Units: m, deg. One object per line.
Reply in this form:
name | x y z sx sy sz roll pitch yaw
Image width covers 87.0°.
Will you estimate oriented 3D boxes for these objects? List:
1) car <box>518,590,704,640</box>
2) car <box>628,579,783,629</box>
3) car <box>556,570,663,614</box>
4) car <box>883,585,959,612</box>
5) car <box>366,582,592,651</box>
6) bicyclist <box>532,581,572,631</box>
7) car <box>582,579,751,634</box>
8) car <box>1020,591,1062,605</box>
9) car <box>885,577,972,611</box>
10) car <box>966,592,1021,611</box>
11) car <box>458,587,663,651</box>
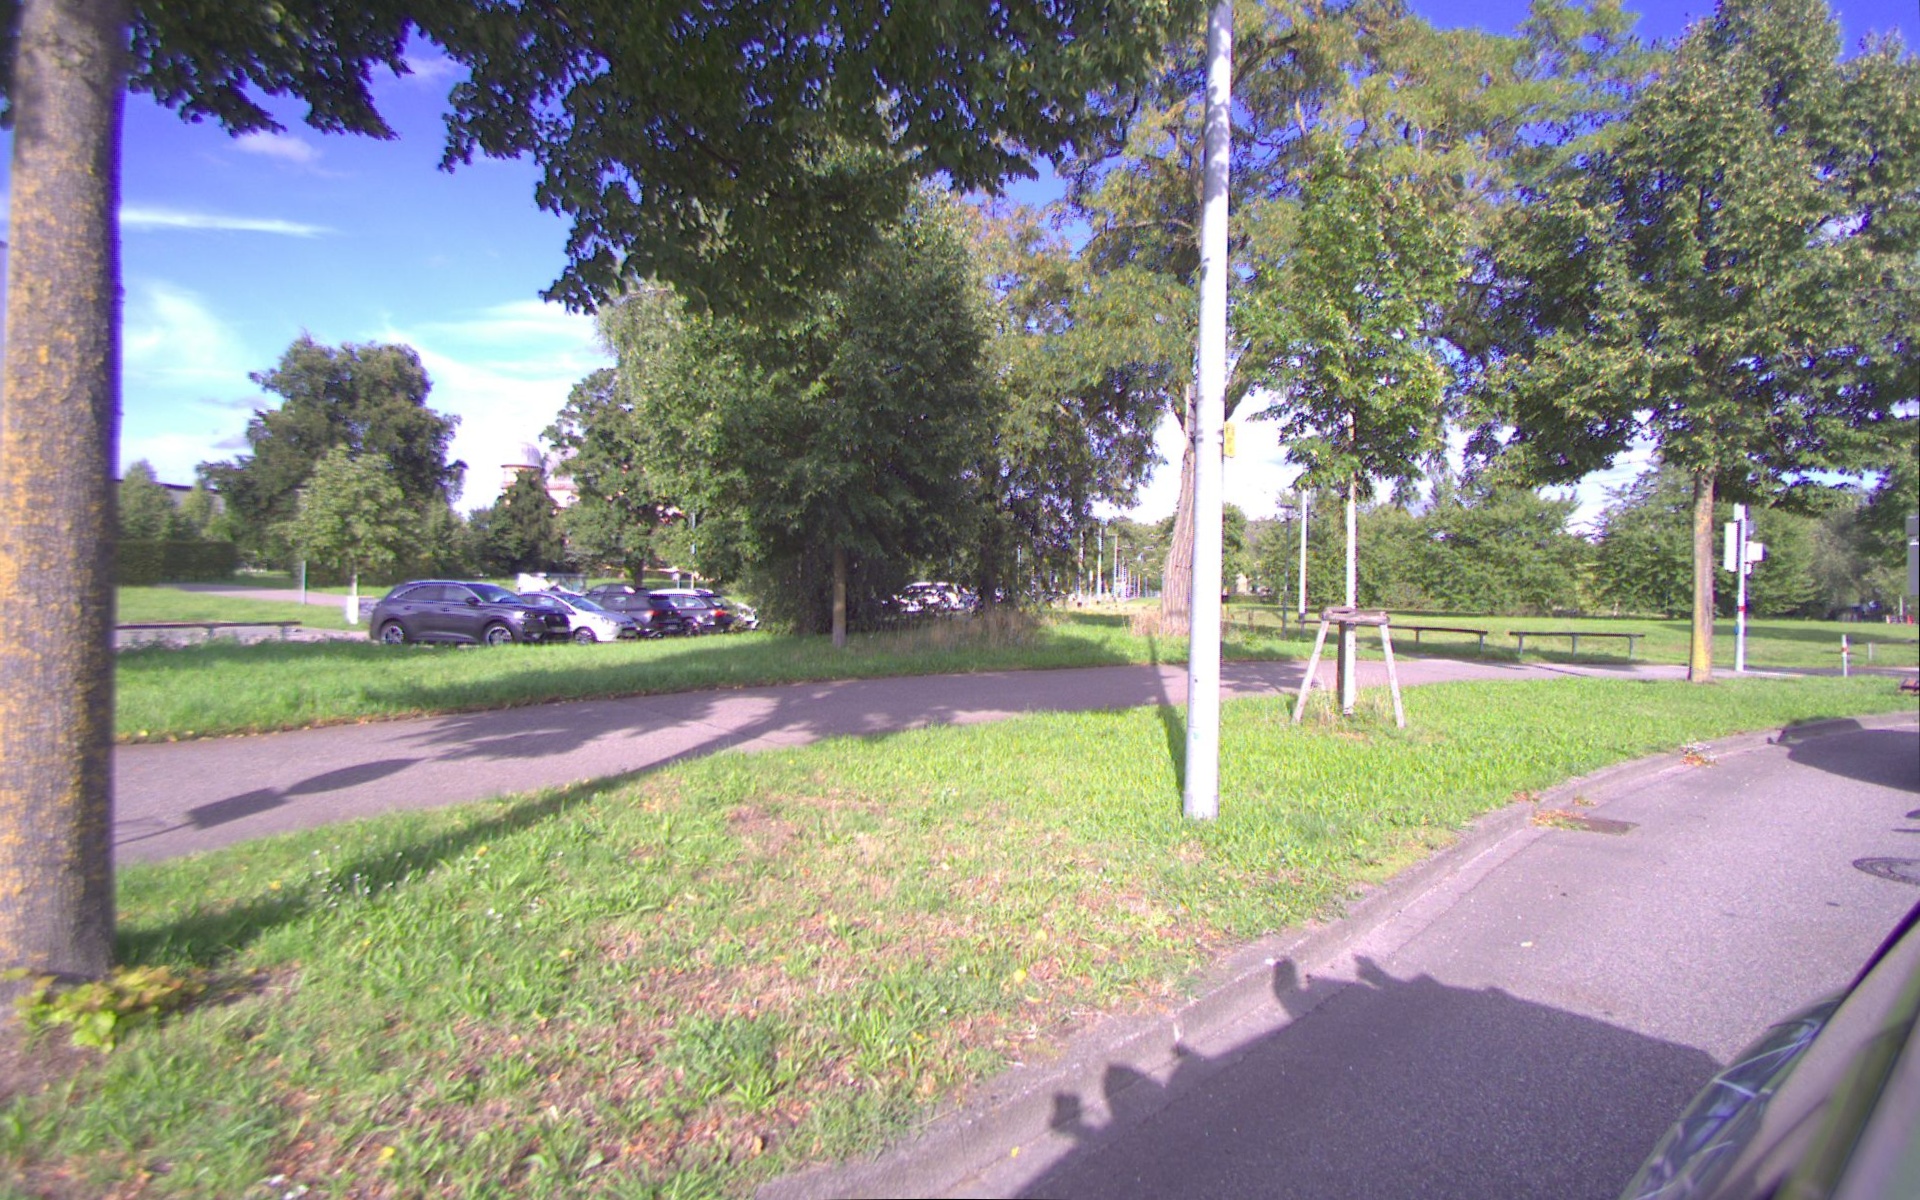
car | -9.685 0.381 28.150 4.664 1.222 1.853 1 1 14
car | -8.393 0.108 33.472 4.664 1.534 1.853 1 1 14
car | -17.204 -0.368 49.729 4.743 2.040 1.867 0 -2 16
car | -2.322 -0.127 61.605 4.392 1.534 1.858 1 1 7
car | -10.784 0.325 22.766 4.449 1.398 1.853 1 1 14
bicyclist | -13.222 0.179 32.797 0.762 1.594 0.954 1 1 19
car | -8.935 0.179 30.905 4.664 1.534 1.853 1 1 14
car | 9.299 -0.249 116.149 4.421 1.560 1.844 1 1 25
car | -1.980 -0.386 64.382 5.044 2.032 2.304 1 1 17
car | 2.900 0.093 86.626 4.409 1.560 1.849 1 1 18
car | -10.156 0.441 25.803 4.664 1.458 1.853 1 1 14
